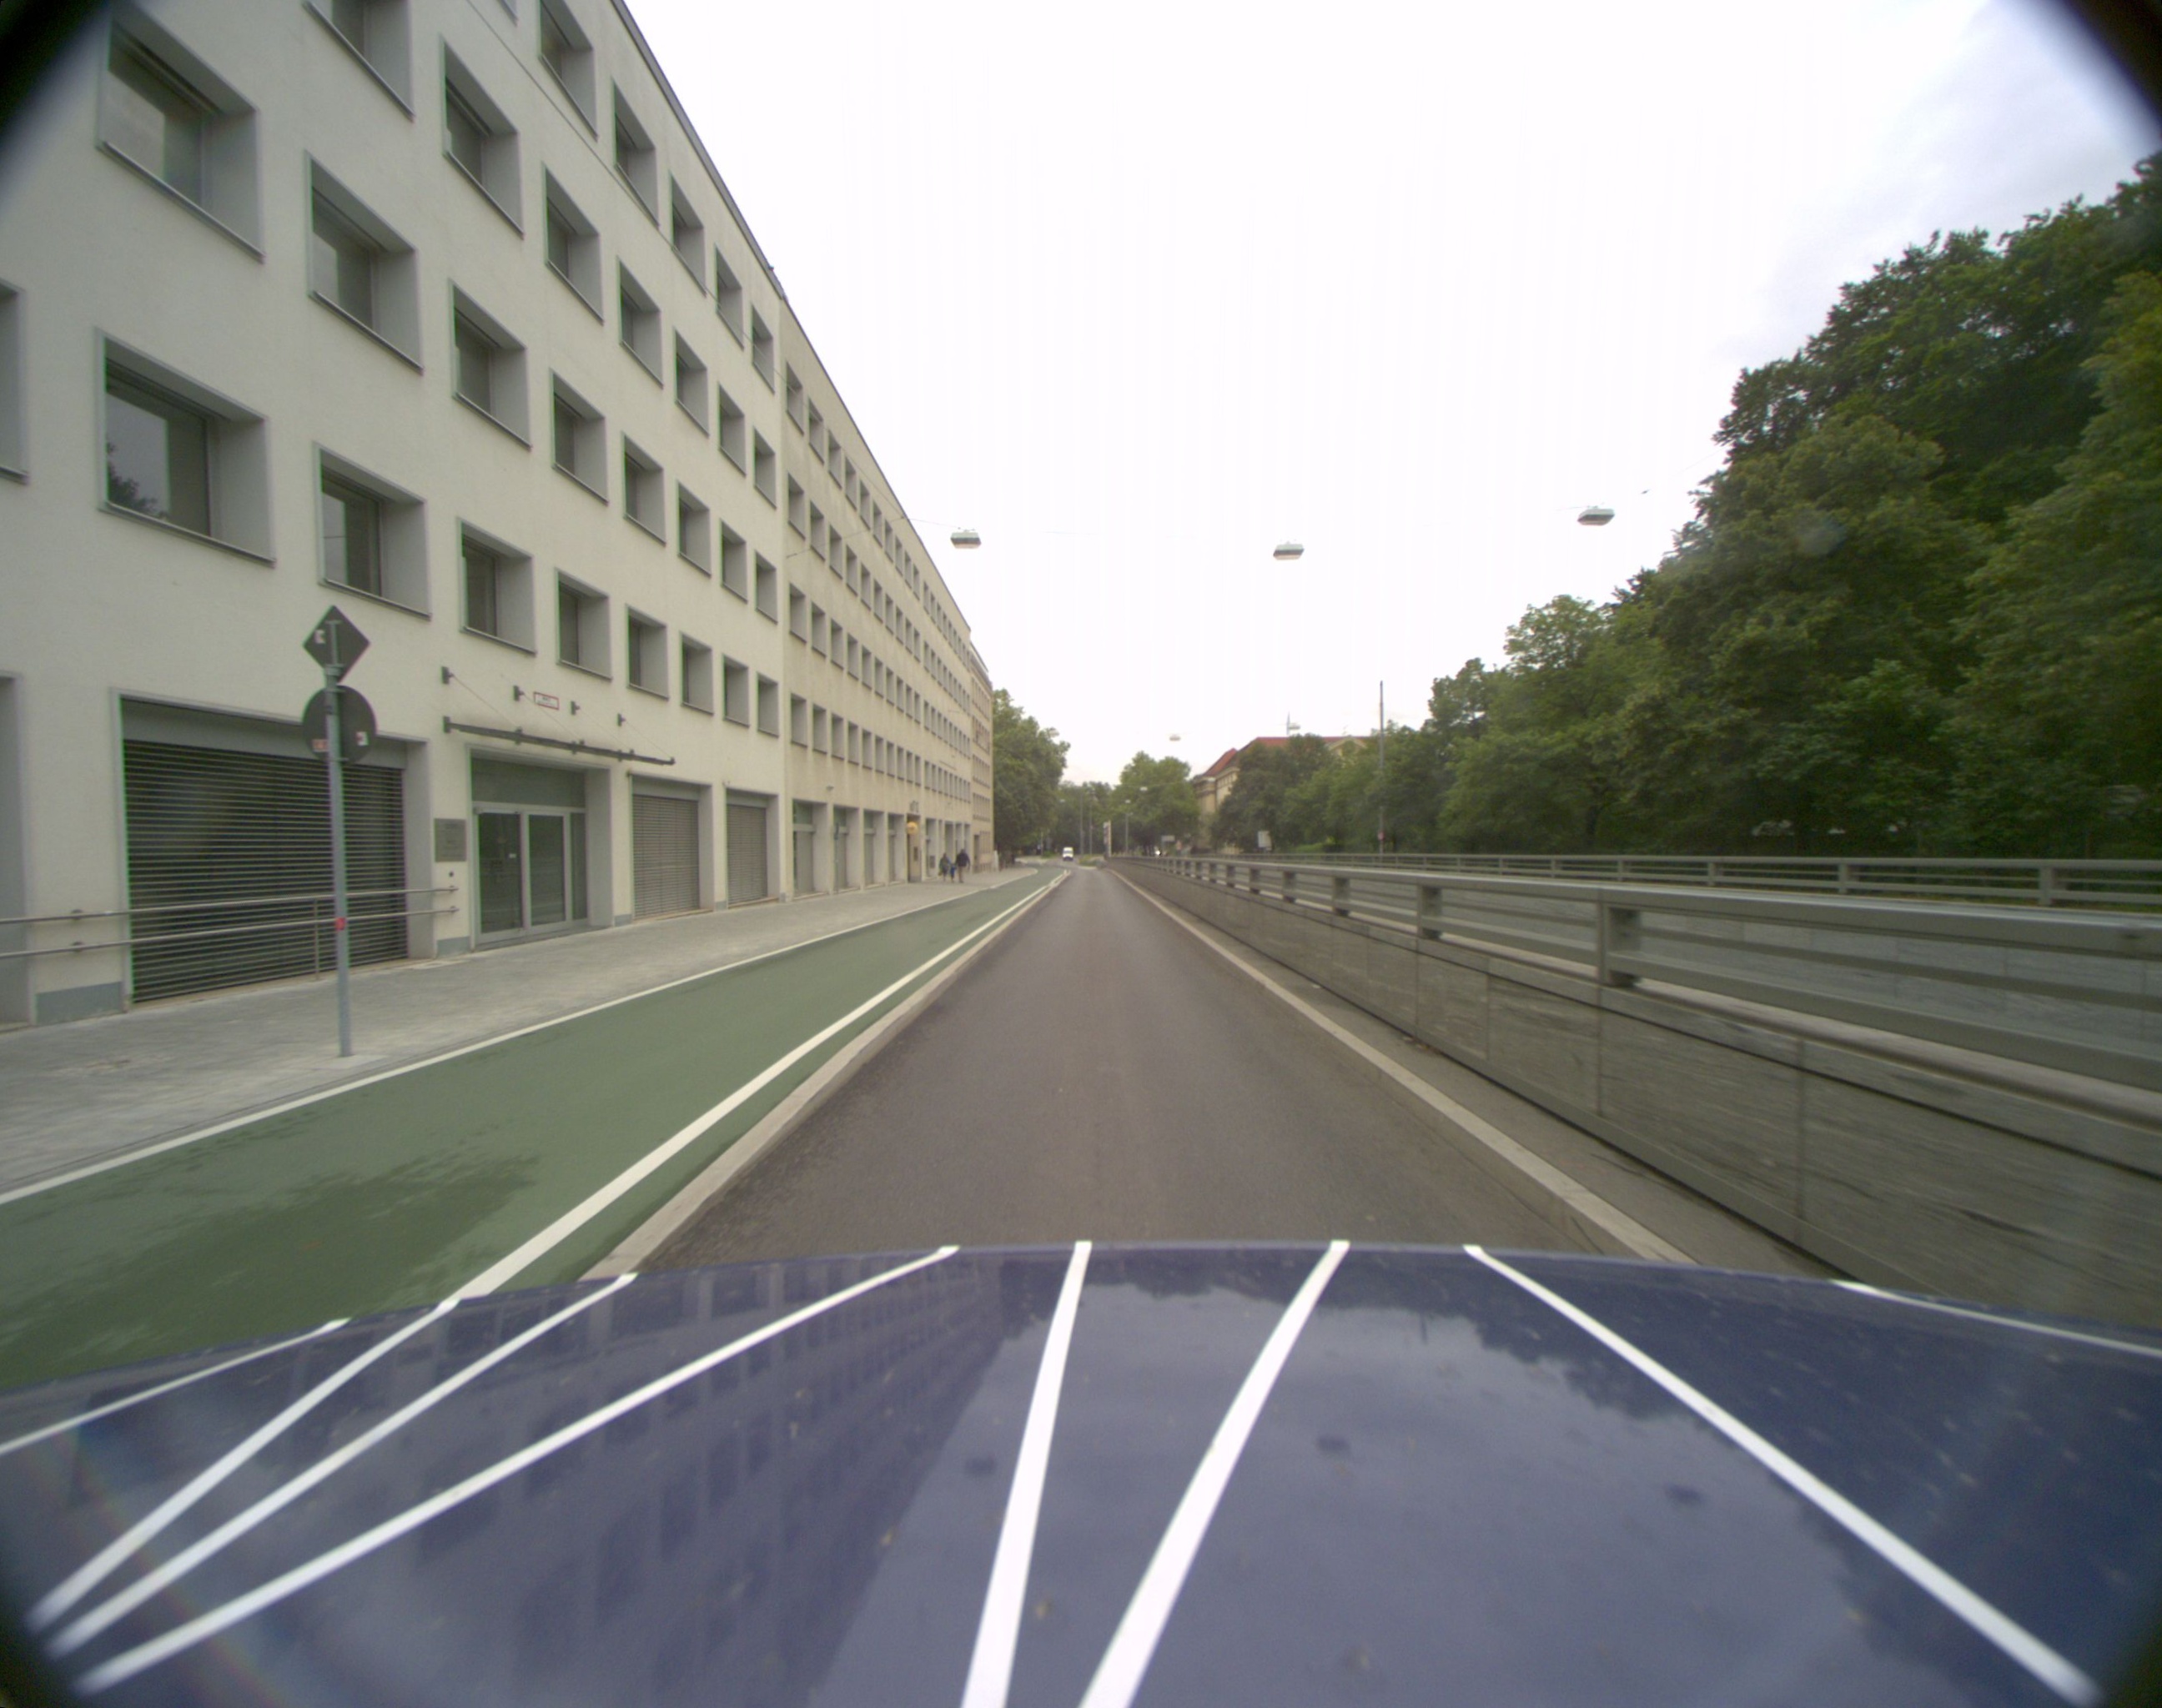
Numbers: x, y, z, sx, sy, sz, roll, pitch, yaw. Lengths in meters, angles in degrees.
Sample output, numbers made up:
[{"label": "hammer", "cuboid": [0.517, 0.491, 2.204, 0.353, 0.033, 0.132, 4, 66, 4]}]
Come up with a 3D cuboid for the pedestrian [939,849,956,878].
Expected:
[{"label": "pedestrian", "cuboid": [-7.654, 0.555, 43.653, 0.754, 1.610, 0.704, 3, 1, 1]}]

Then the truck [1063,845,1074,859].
[{"label": "truck", "cuboid": [-2.535, -0.445, 154.863, 2.058, 2.625, 4.411, -1, 1, -1]}]

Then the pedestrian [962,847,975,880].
[{"label": "pedestrian", "cuboid": [-6.242, 0.519, 42.063, 0.514, 1.825, 0.602, 3, 1, 1]}]

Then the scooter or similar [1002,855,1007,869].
[{"label": "scooter or similar", "cuboid": [-7.335, 0.750, 72.916, 0.387, 1.265, 1.119, 1, 2, 0]}]

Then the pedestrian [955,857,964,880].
[{"label": "pedestrian", "cuboid": [-6.707, 0.784, 41.927, 0.368, 1.239, 0.470, 3, 1, 1]}]
